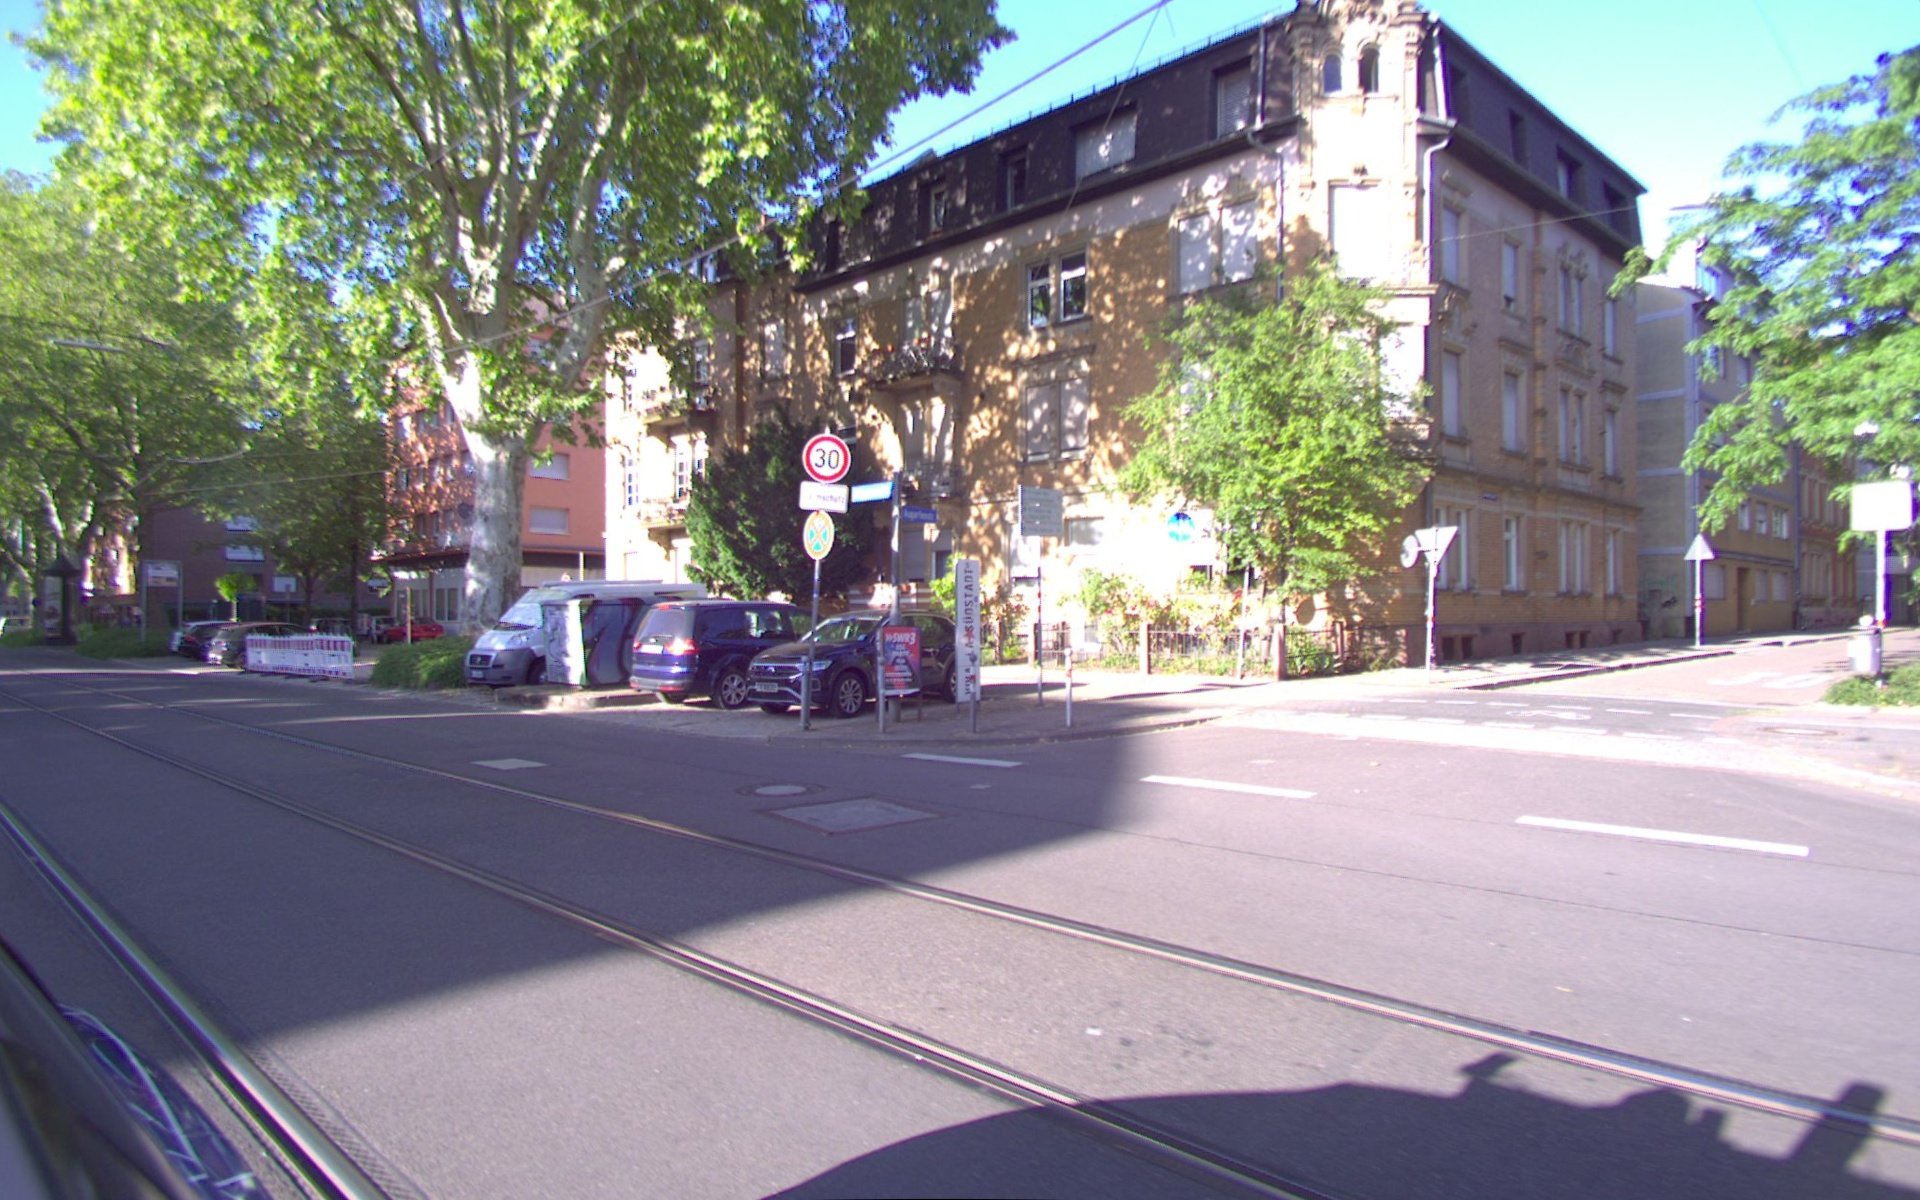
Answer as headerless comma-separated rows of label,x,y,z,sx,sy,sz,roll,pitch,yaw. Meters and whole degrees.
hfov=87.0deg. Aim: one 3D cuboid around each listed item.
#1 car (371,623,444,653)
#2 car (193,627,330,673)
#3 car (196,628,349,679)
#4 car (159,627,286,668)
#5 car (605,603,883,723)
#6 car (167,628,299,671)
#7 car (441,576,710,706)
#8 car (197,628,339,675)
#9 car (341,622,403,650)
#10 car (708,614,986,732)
car,-28.027,1.926,51.281,4.606,1.458,1.650,-1,-3,40
car,-26.209,1.842,38.042,1.809,1.527,3.916,-2,-2,39
car,-22.935,1.744,33.873,1.809,1.527,3.916,-2,-2,39
car,-30.346,1.910,41.717,1.809,1.527,3.916,-2,-2,39
car,-3.592,0.977,17.504,2.026,1.779,4.408,-2,-2,39
car,-28.400,1.915,39.617,1.809,1.527,3.916,-2,-2,39
car,-7.956,0.799,21.363,2.026,2.416,4.956,-2,-2,39
car,-24.906,1.828,36.508,1.809,1.527,3.916,-2,-2,39
car,-31.503,1.936,54.205,3.648,1.458,1.650,-1,-3,40
car,-1.627,1.027,15.719,1.924,1.527,4.118,-2,-2,39
